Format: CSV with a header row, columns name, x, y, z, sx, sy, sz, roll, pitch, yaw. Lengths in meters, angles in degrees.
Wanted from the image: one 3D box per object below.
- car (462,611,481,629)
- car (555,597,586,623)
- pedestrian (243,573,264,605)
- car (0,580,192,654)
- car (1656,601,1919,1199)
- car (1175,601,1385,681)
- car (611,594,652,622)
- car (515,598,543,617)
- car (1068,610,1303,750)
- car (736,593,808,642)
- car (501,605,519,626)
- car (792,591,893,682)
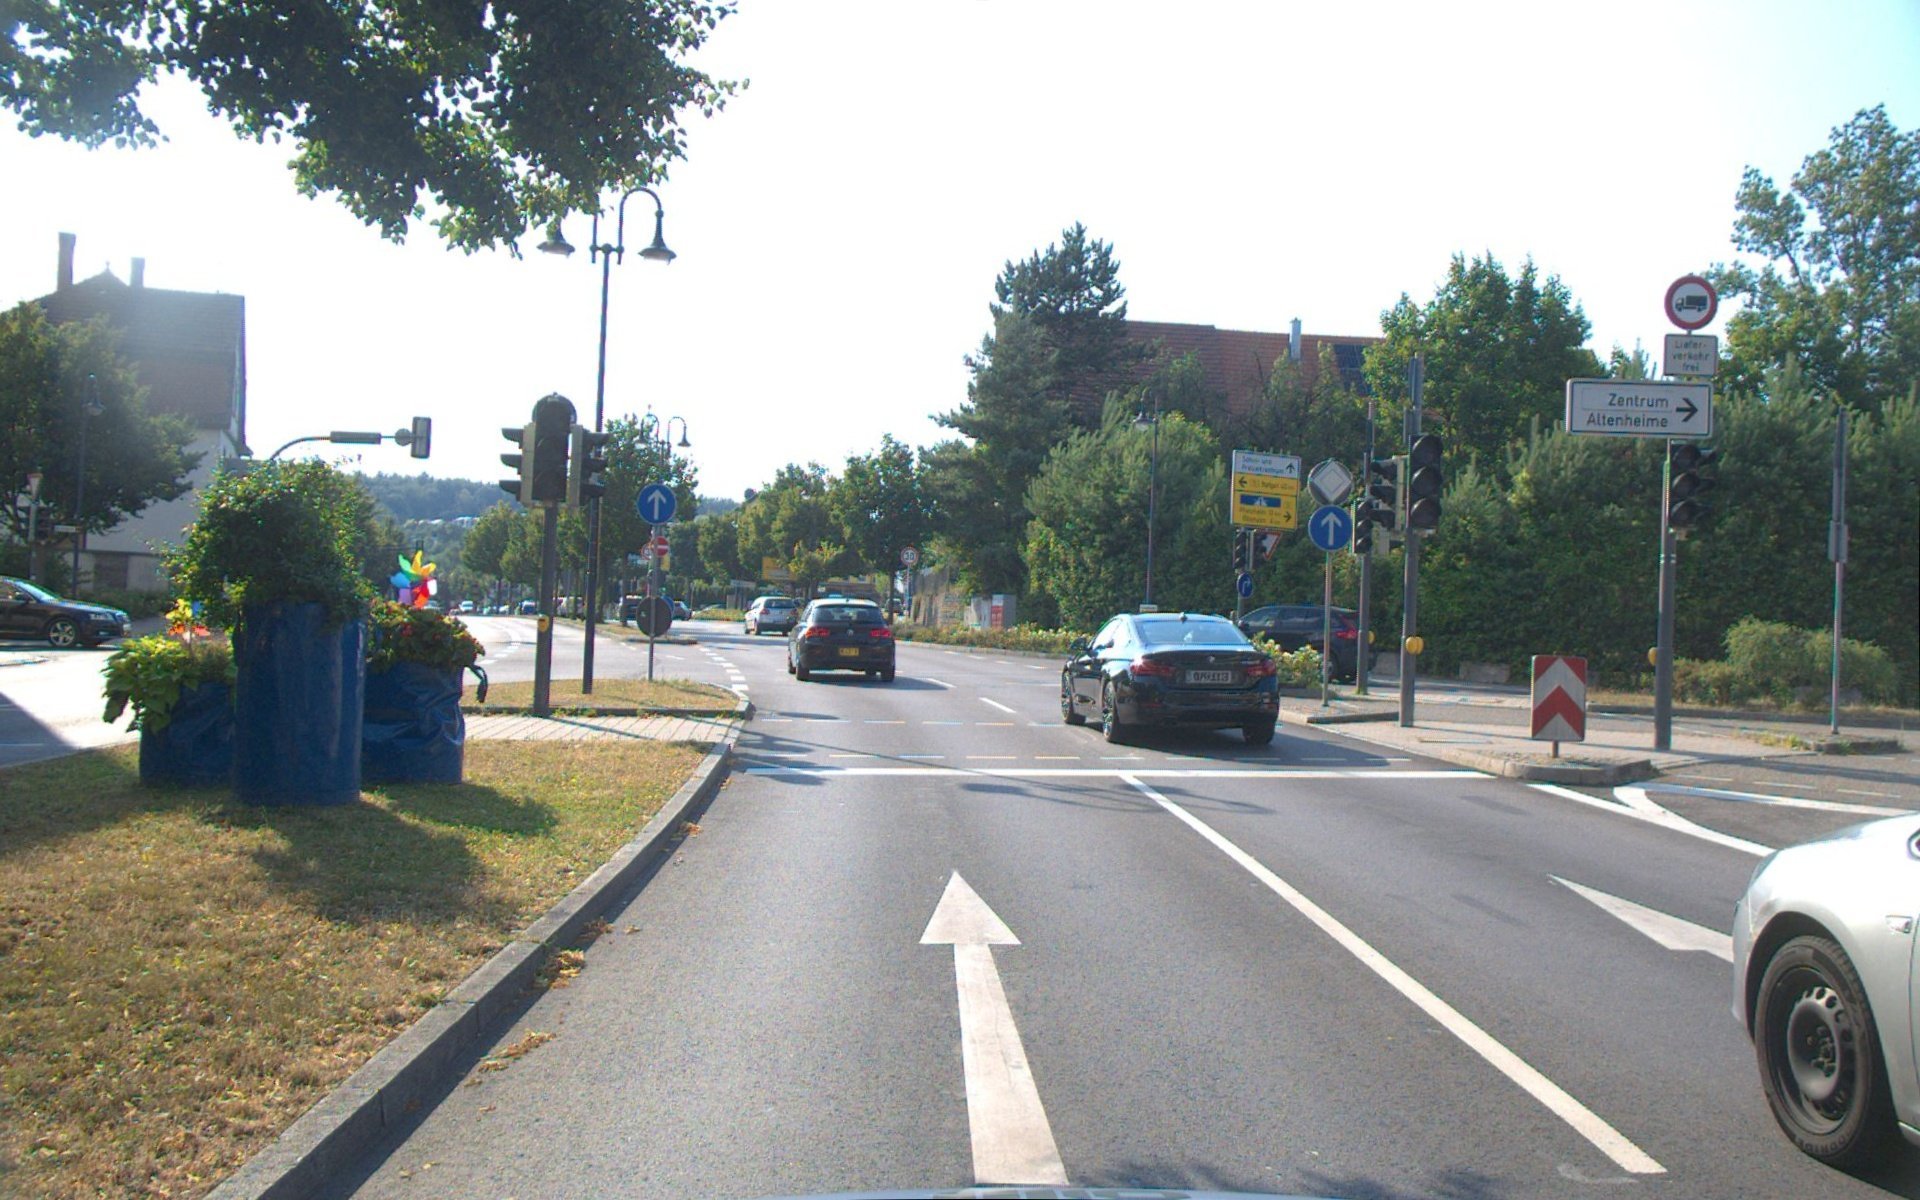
name,x,y,z,sx,sy,sz,roll,pitch,yaw
car,-46.945,1.900,158.920,1.703,1.708,3.981,1,0,-17
car,-27.262,0.697,115.626,1.729,1.800,3.949,1,0,-19
pedestrian,-32.040,-0.505,74.984,0.800,1.418,0.703,1,0,-20
car,-18.800,0.346,34.384,4.771,1.462,1.912,1,0,-11
car,3.295,0.792,3.449,1.687,1.516,4.304,1,0,-3
car,7.052,0.881,36.567,4.182,1.594,1.787,1,0,33
car,-22.455,0.544,112.872,2.183,1.800,4.430,1,0,-19
car,-40.902,0.707,156.861,2.183,1.800,4.430,1,0,-19
car,2.430,0.829,18.916,1.882,1.388,4.350,1,-1,-3
car,-7.427,0.659,64.867,1.896,1.800,4.430,1,0,-19
car,-47.303,1.633,173.981,1.743,2.049,3.985,1,0,-14
car,-2.190,0.637,30.476,1.687,1.516,4.348,2,0,-5
